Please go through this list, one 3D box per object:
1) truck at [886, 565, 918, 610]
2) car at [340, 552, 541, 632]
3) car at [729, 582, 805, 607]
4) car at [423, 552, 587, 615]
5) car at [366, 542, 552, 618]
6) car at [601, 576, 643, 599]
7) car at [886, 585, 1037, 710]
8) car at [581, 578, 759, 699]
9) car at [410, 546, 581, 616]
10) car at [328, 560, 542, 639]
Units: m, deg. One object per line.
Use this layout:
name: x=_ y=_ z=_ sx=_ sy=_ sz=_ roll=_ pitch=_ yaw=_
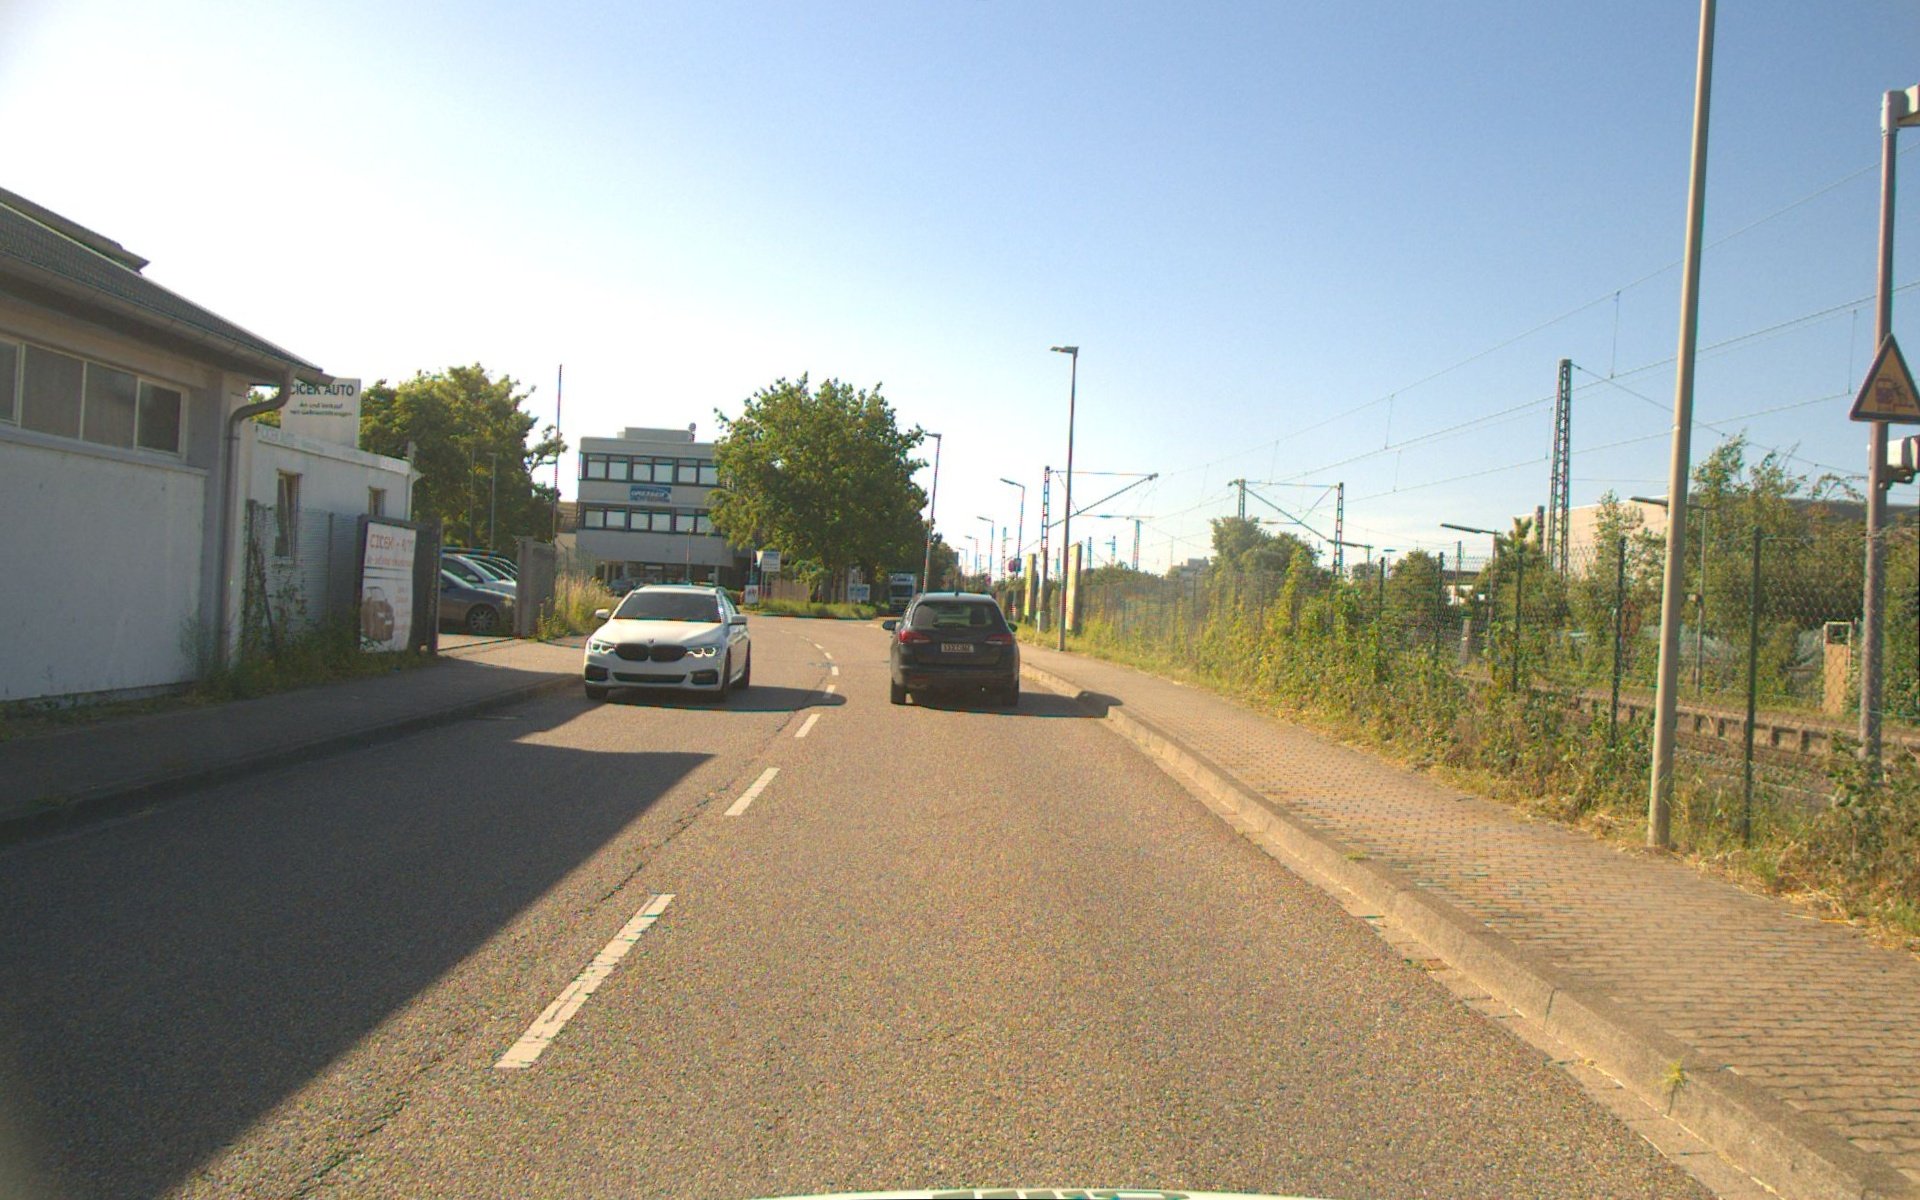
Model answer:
truck: x=-5.577 y=-1.125 z=157.460 sx=2.561 sy=3.952 sz=13.524 roll=3 pitch=0 yaw=-3
car: x=-12.299 y=-0.195 z=39.415 sx=4.311 sy=1.677 sz=1.835 roll=2 pitch=0 yaw=-11
car: x=-13.177 y=-0.389 z=112.990 sx=4.808 sy=1.510 sz=2.001 roll=3 pitch=1 yaw=3
car: x=-13.549 y=-0.498 z=49.359 sx=4.349 sy=1.677 sz=1.820 roll=2 pitch=0 yaw=-33
car: x=-12.572 y=-0.494 z=41.758 sx=4.314 sy=1.677 sz=1.834 roll=2 pitch=0 yaw=-14
car: x=-25.354 y=-0.960 z=124.203 sx=1.952 sy=1.510 sz=4.928 roll=2 pitch=1 yaw=2
car: x=-0.031 y=0.589 z=23.356 sx=1.903 sy=1.514 sz=4.564 roll=1 pitch=1 yaw=-1
car: x=-3.935 y=0.467 z=23.184 sx=1.772 sy=1.504 sz=4.686 roll=1 pitch=0 yaw=-2
car: x=-12.525 y=-0.506 z=44.727 sx=4.318 sy=1.677 sz=1.832 roll=2 pitch=0 yaw=-16
car: x=-11.644 y=-0.010 z=36.947 sx=4.311 sy=1.533 sz=1.835 roll=2 pitch=0 yaw=-11
